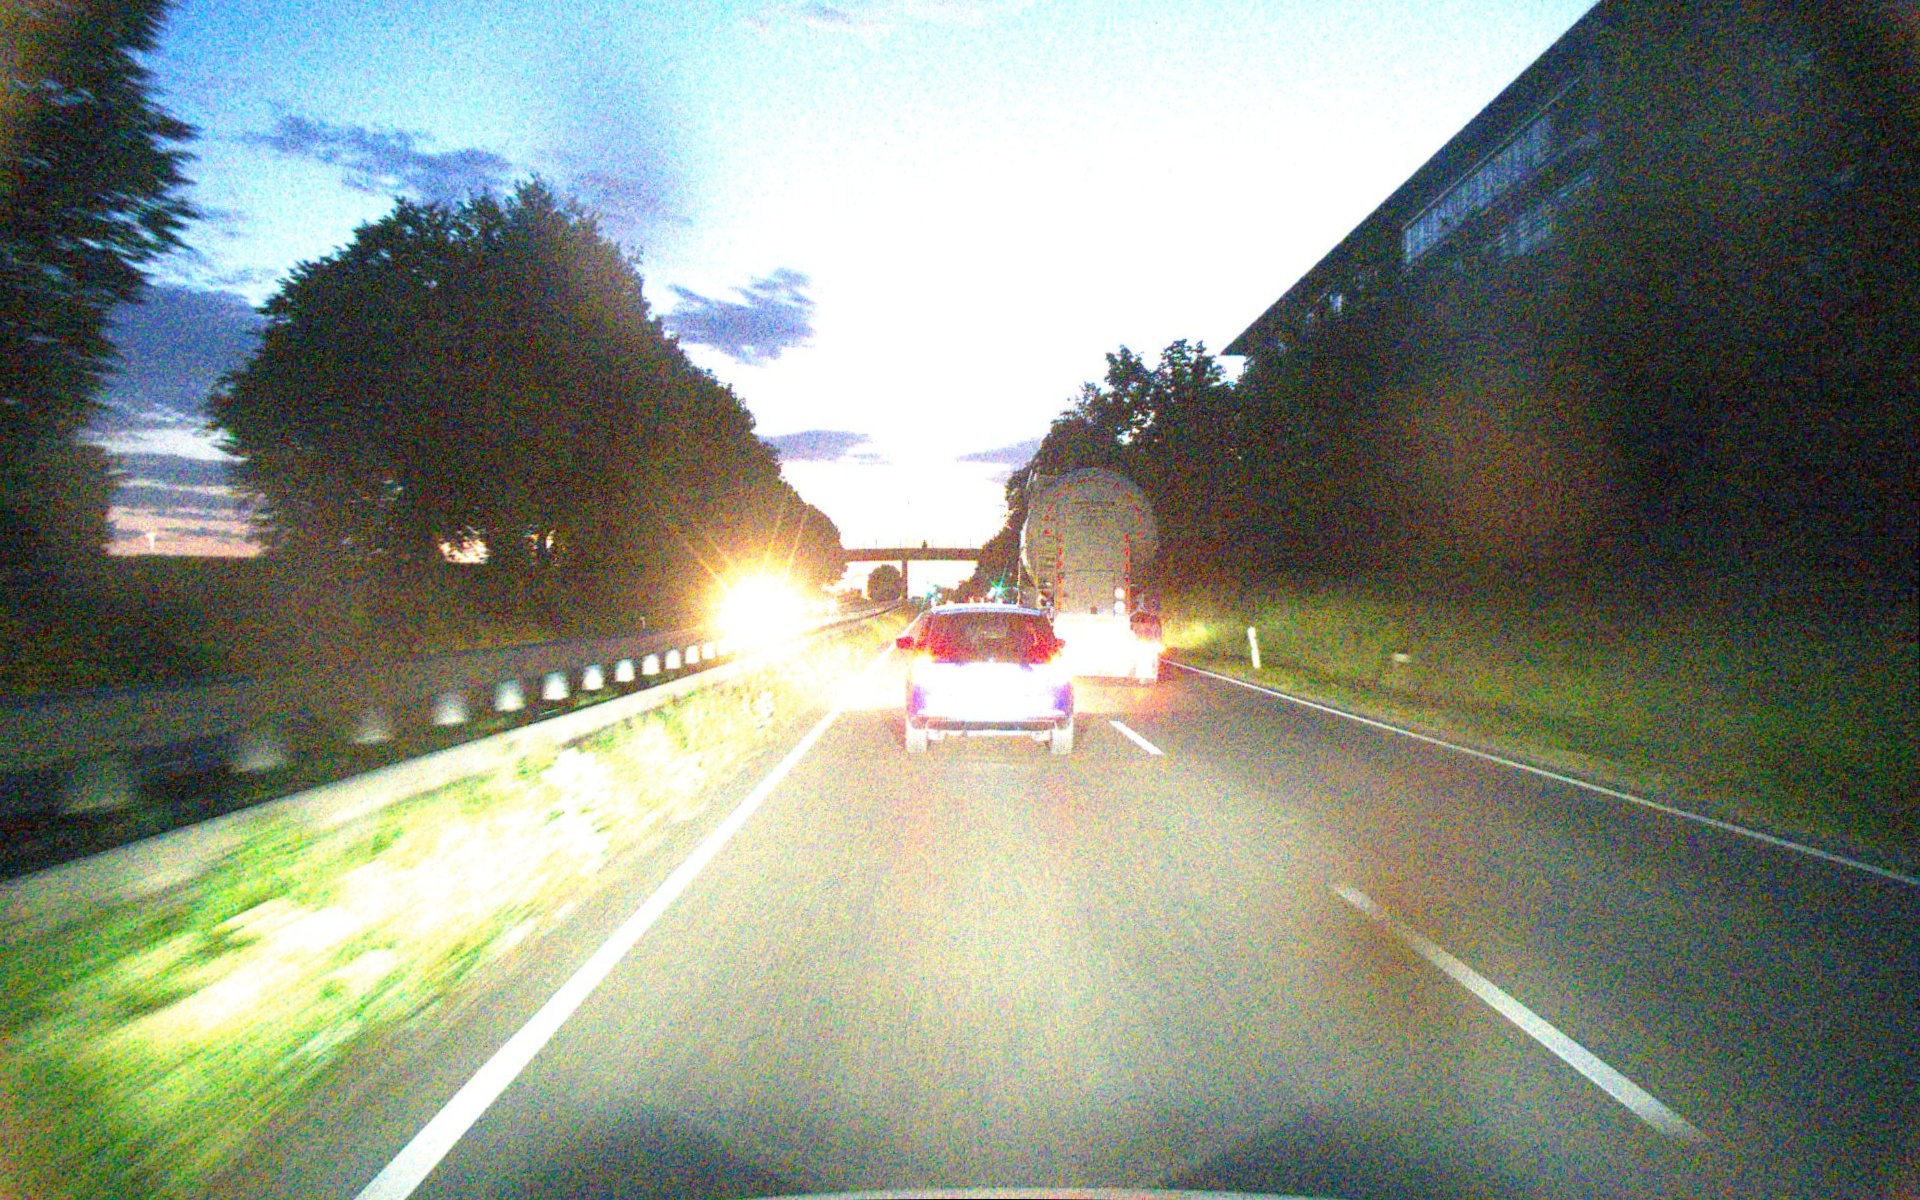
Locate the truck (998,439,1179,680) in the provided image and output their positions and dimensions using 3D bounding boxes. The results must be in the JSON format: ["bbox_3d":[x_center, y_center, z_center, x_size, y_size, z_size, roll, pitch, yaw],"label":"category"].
[{"bbox_3d":[2.398,-0.686,35.471,2.633,4.178,13.138,1,0,-1],"label":"truck"}]

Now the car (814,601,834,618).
[{"bbox_3d":[-12.593,0.855,153.080,1.584,1.533,3.868,1,0,-1],"label":"car"}]

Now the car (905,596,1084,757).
[{"bbox_3d":[0.295,0.720,17.378,1.661,1.478,3.913,1,0,-1],"label":"car"}]

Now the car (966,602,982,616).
[{"bbox_3d":[1.553,0.991,184.207,1.661,1.478,3.913,1,0,-1],"label":"car"}]

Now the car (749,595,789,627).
[{"bbox_3d":[-9.898,0.543,85.899,1.648,1.615,4.166,1,0,-1],"label":"car"}]

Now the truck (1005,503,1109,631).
[{"bbox_3d":[3.360,-1.059,60.449,2.824,4.178,12.680,1,0,-1],"label":"truck"}]
